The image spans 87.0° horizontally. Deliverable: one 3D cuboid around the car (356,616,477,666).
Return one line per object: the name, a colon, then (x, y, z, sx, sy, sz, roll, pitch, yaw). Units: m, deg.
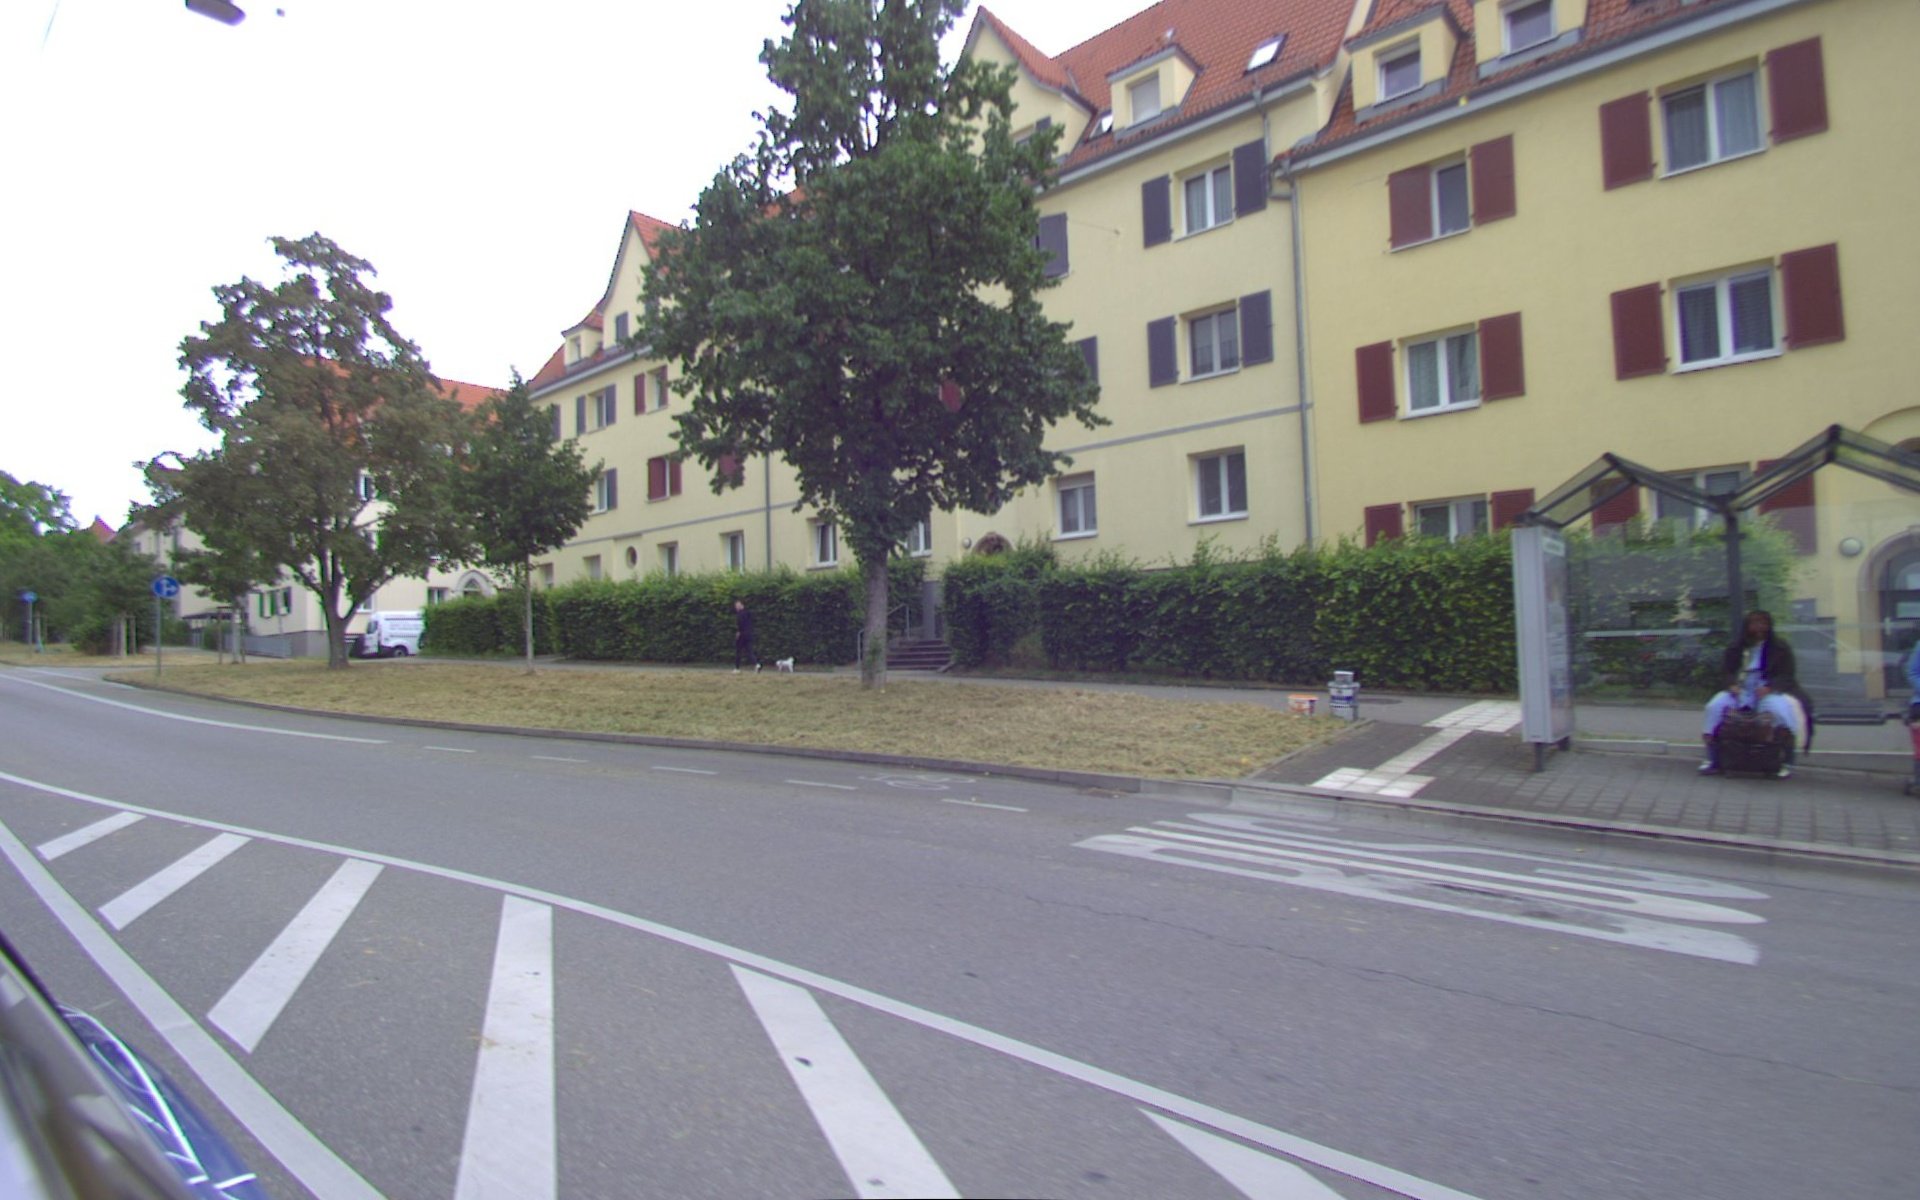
car: (-25.923, 1.917, 48.405, 1.994, 2.270, 4.668, -2, -2, 41)

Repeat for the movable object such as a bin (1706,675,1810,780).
movable object such as a bin: (6.980, 1.095, 8.852, 0.665, 0.832, 0.459, -2, -1, 42)

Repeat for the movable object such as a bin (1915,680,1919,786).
movable object such as a bin: (7.939, 1.078, 7.898, 0.665, 0.852, 0.531, -2, -1, 42)

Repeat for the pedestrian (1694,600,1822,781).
pedestrian: (7.072, 0.761, 8.966, 0.806, 1.485, 0.890, -2, -1, 41)

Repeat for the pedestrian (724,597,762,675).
pedestrian: (-5.060, 0.839, 23.571, 0.753, 1.793, 0.508, -2, -2, 41)

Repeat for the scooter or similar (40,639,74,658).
scooter or similar: (-51.370, 2.765, 57.602, 0.466, 1.094, 1.357, -2, -3, 36)

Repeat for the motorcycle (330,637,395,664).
motorcycle: (-29.283, 2.465, 49.647, 2.561, 1.288, 1.020, 1, -2, -16)

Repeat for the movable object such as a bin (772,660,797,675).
movable object such as a bin: (-4.176, 1.603, 24.103, 0.303, 0.350, 0.582, 1, -2, -44)

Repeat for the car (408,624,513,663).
car: (-22.192, 1.906, 45.050, 1.689, 1.542, 3.865, -7, -5, 40)

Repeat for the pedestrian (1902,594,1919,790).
pedestrian: (8.054, 0.707, 8.009, 0.806, 1.521, 0.890, -2, -1, 41)
